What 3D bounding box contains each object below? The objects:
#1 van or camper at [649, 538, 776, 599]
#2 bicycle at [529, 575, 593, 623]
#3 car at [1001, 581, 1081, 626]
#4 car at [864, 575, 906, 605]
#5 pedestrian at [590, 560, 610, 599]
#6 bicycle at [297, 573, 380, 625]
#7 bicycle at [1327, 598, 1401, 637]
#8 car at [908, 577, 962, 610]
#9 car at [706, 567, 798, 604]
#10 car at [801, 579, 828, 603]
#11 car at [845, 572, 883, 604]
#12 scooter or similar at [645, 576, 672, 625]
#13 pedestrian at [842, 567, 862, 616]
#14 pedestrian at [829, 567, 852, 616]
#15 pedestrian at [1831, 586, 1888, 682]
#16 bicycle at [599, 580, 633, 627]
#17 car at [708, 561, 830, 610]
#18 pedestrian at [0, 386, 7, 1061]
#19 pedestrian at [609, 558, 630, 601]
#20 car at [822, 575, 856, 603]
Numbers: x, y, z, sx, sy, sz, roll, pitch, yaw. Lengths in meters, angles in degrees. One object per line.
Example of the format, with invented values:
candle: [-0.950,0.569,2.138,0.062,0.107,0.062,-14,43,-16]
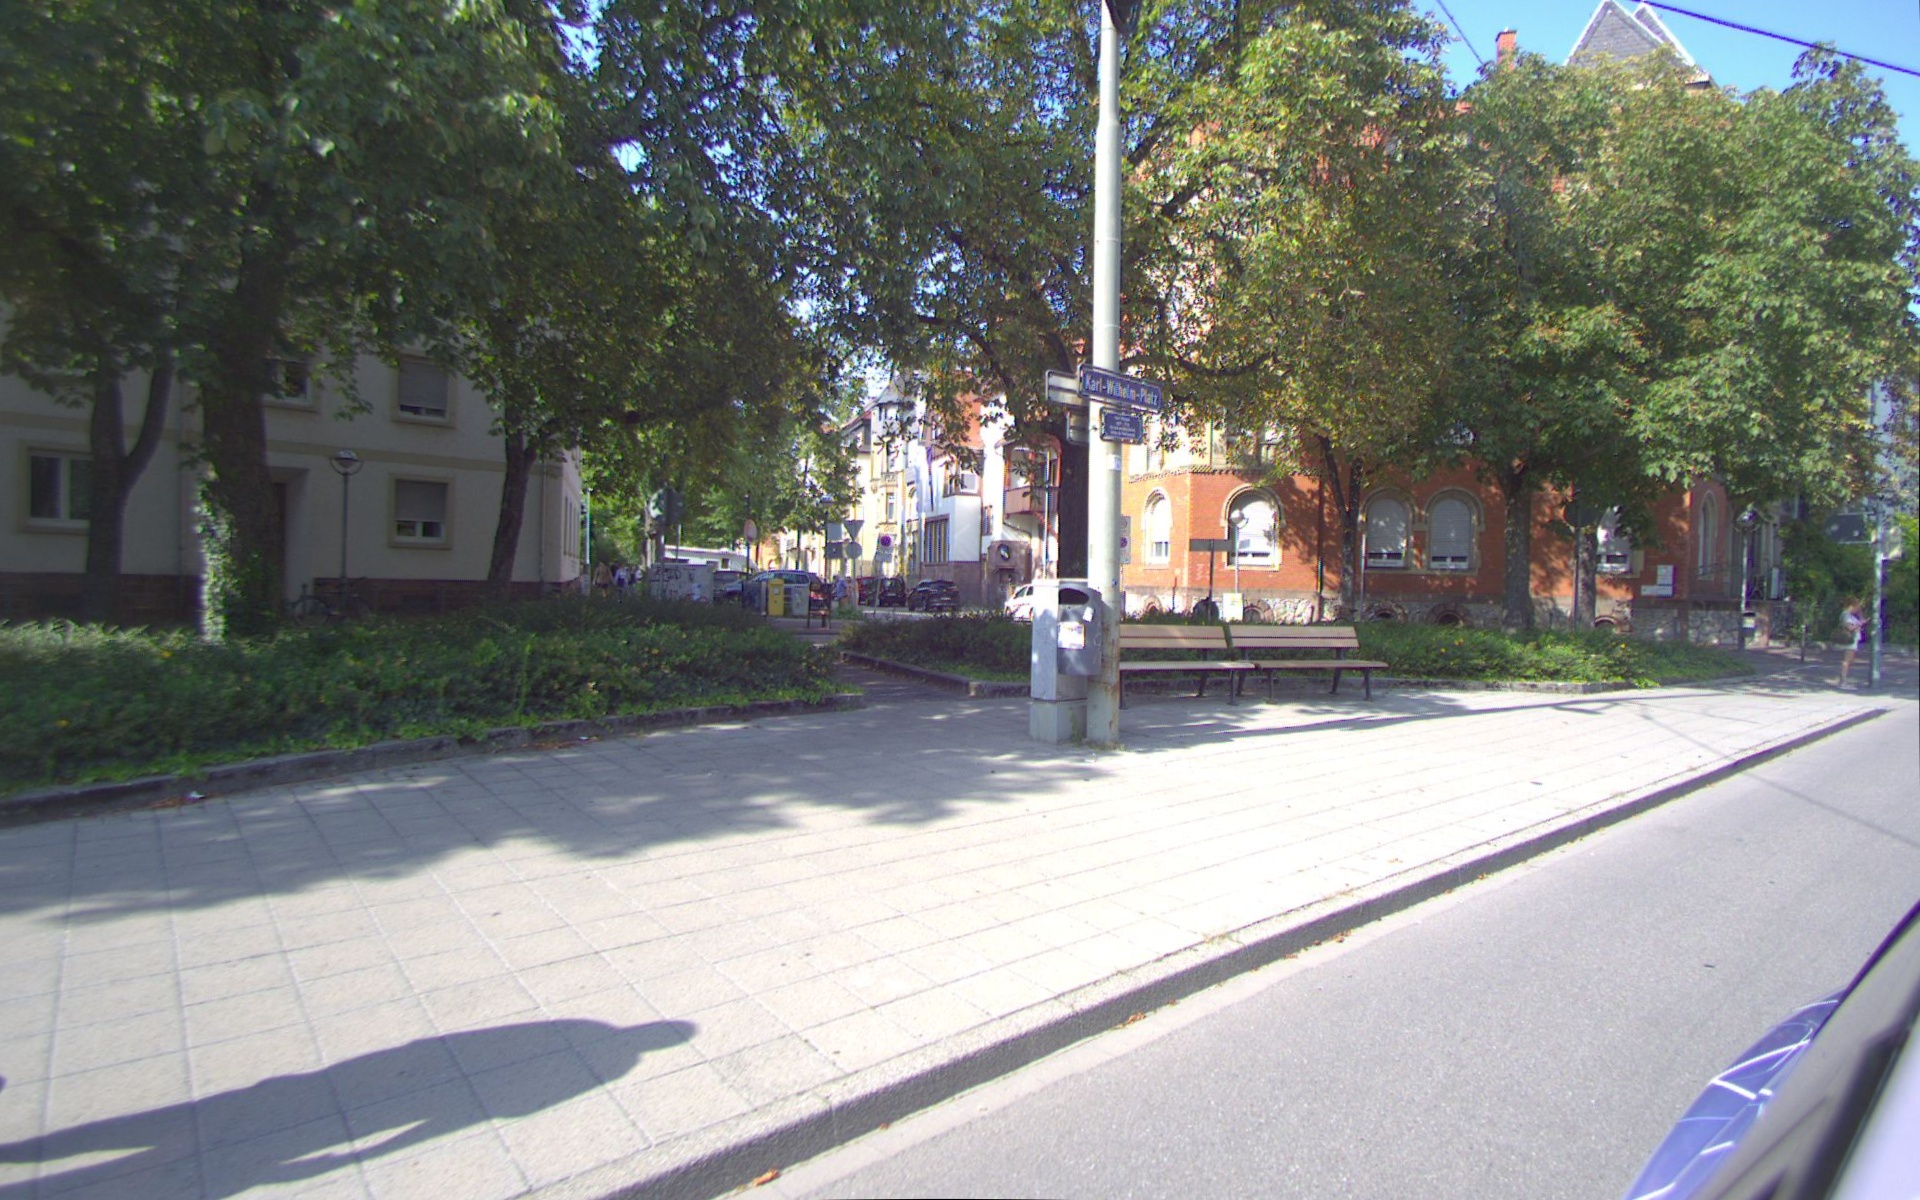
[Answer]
van or camper: [-14.227,-1.736,58.273,6.796,2.919,2.004,4,-3,-20]
bicycle: [-9.395,-0.032,23.784,1.862,1.071,0.599,2,1,41]
car: [3.028,0.084,38.680,1.588,1.586,4.009,1,1,-19]
car: [-4.563,-0.607,61.086,1.588,1.723,4.009,1,1,-19]
pedestrian: [-14.773,-0.823,41.503,0.754,1.566,0.860,1,1,-21]
bicycle: [-13.167,-0.023,21.454,1.460,1.073,0.417,0,2,-37]
bicycle: [11.284,0.492,28.302,1.805,1.072,0.608,0,-2,2]
car: [-1.331,-0.348,51.158,1.588,1.586,4.009,1,1,-19]
car: [-9.952,-0.685,48.388,3.938,1.480,1.666,4,-1,-25]
car: [-12.264,-0.801,85.157,1.588,1.946,4.009,1,1,-19]
car: [-6.275,-0.808,65.952,1.588,1.946,4.009,1,1,-19]
scooter or similar: [-7.417,0.010,24.918,0.433,1.172,1.114,1,1,-5]
pedestrian: [-4.065,-0.326,38.169,0.581,1.786,0.605,1,1,10]
pedestrian: [-4.403,-0.305,37.310,0.645,1.786,0.605,1,1,12]
pedestrian: [16.682,0.620,18.775,0.647,1.739,0.545,1,1,-25]
bicycle: [-8.175,0.065,24.123,0.596,1.071,1.843,1,1,-14]
car: [-6.932,-0.531,36.711,4.106,1.659,1.667,1,1,-20]
pedestrian: [-2.501,0.385,1.915,0.952,1.745,1.079,1,4,-41]
pedestrian: [-14.075,-0.845,41.803,0.754,1.782,0.860,1,1,-21]
car: [-8.725,-0.805,72.621,1.588,1.946,4.009,1,1,-19]
